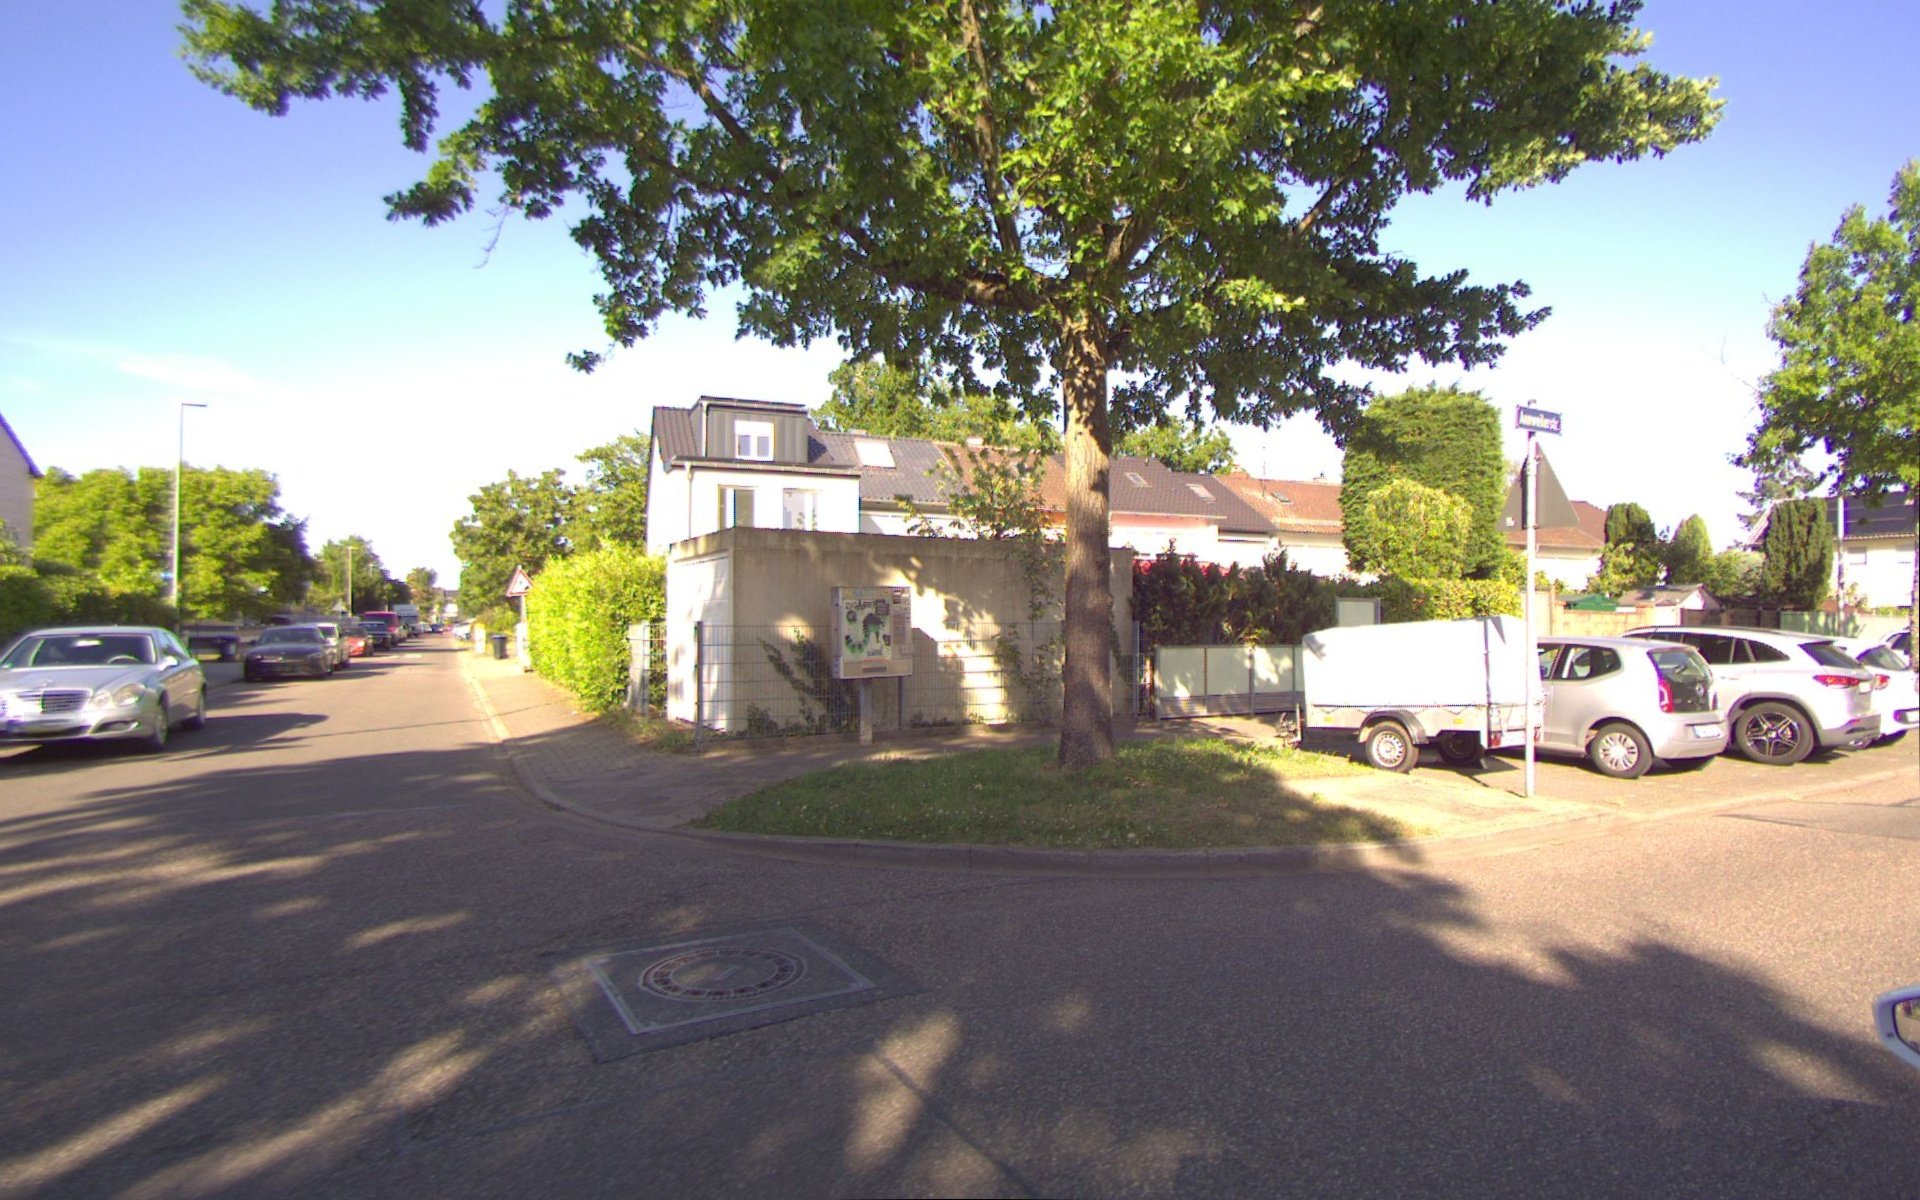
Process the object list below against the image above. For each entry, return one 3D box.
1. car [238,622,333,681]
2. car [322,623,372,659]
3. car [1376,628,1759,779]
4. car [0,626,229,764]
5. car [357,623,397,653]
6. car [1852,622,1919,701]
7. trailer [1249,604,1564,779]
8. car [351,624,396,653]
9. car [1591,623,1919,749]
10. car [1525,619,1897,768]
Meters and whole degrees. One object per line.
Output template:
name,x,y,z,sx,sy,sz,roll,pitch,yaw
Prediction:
car,-18.373,1.364,27.512,1.978,1.505,3.966,2,-2,-32
car,-28.081,1.861,46.034,1.812,1.505,3.966,3,-3,-32
car,7.098,1.096,12.068,1.788,1.496,3.531,1,-2,-31
car,-10.572,1.032,12.393,1.899,1.403,4.330,0,-1,-28
car,-37.897,2.435,65.405,1.975,1.837,4.195,3,-3,-27
car,21.767,1.307,21.209,1.976,1.692,3.969,1,-1,-30
trailer,4.873,0.926,11.251,1.382,1.677,2.948,1,-2,-35
car,-32.763,2.128,56.068,1.979,1.505,3.965,3,-3,-32
car,11.470,1.133,14.565,1.835,1.578,3.525,2,-2,-35
car,9.594,1.080,13.046,1.835,1.634,3.524,1,-2,-37
